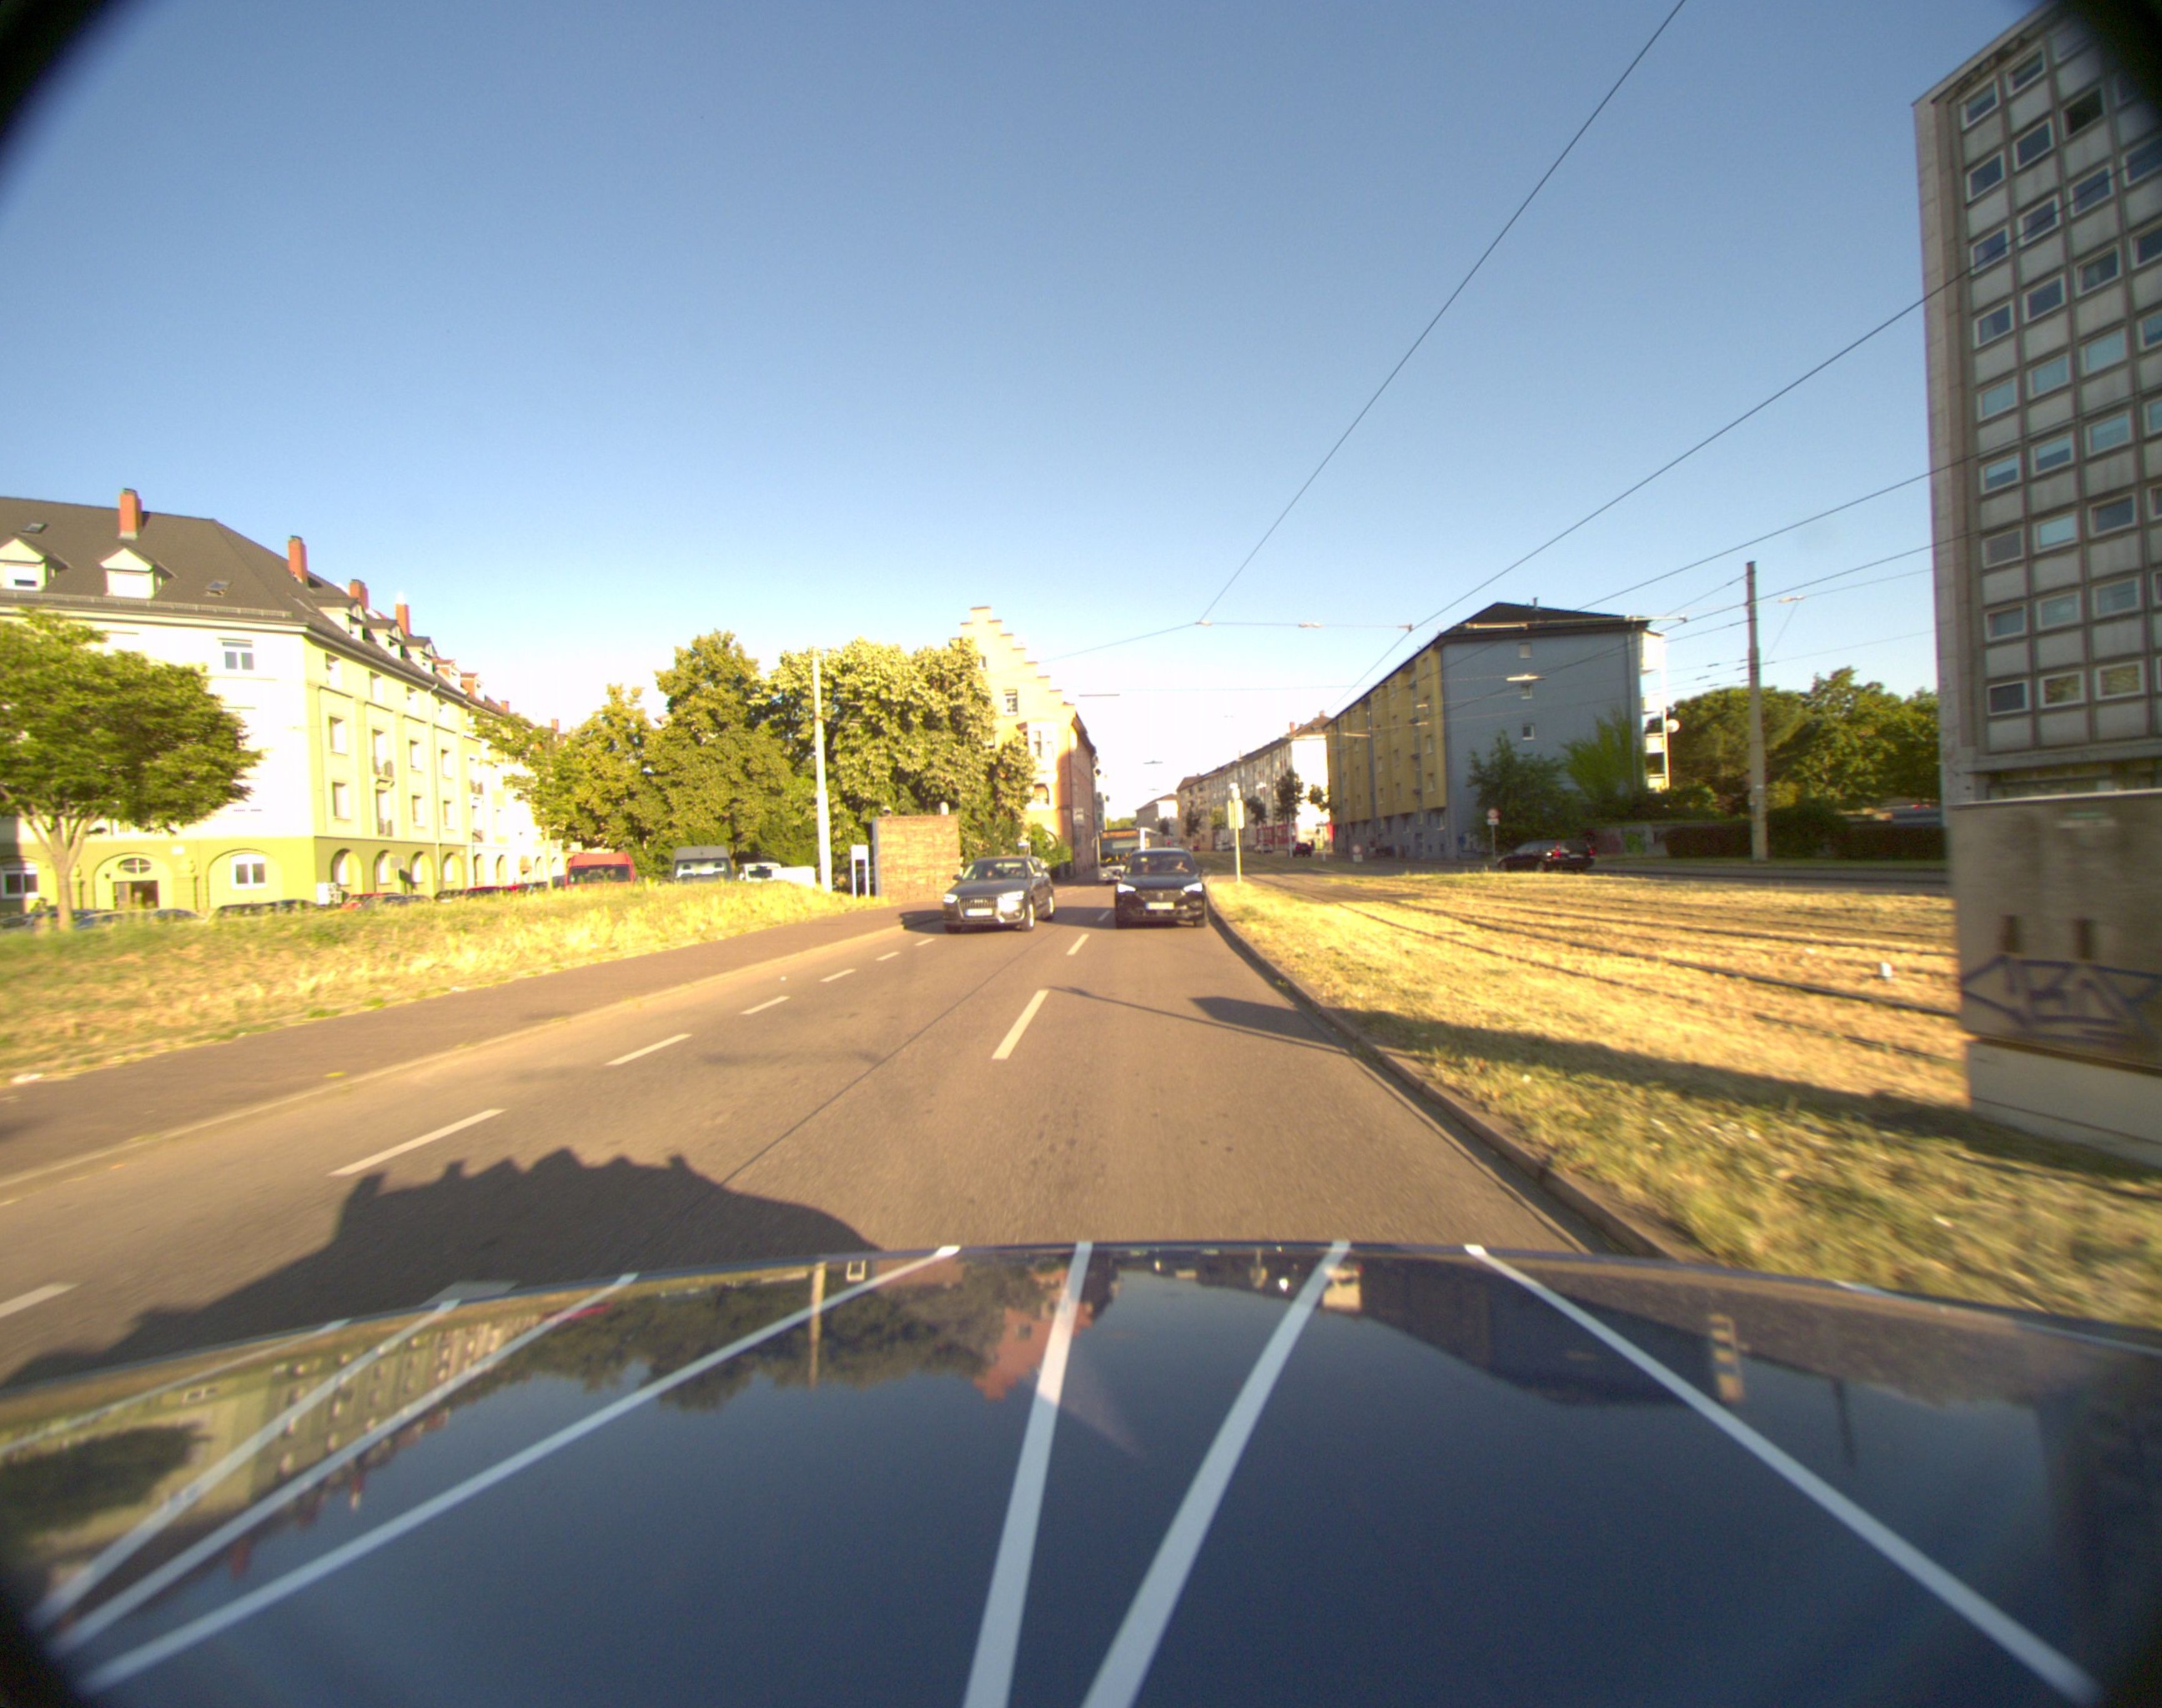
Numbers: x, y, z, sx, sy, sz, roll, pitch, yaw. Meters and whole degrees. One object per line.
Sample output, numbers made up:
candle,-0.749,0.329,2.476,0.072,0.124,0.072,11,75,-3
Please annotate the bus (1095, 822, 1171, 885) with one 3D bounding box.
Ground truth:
bus,3.249,-0.153,43.895,2.729,3.060,10.607,-3,1,12

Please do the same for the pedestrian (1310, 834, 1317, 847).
pedestrian,30.524,-1.801,99.587,0.615,1.679,0.791,-3,1,-1

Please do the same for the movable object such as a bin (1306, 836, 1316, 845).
movable object such as a bin,32.354,-1.868,107.010,1.161,1.279,0.806,-3,1,0

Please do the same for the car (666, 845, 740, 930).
car,-13.636,1.085,27.361,2.046,2.651,6.202,-3,1,-27

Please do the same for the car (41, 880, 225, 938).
car,-25.450,1.418,20.596,1.708,1.251,3.698,-2,1,-27

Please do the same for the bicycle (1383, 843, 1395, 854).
bicycle,27.147,-0.488,66.955,0.428,0.920,1.912,-6,1,6

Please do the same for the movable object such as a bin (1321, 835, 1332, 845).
movable object such as a bin,34.121,-1.973,105.587,1.220,1.408,1.108,-3,1,0

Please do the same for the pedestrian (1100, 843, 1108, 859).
pedestrian,2.602,-0.327,85.080,0.832,1.761,0.996,-2,1,4

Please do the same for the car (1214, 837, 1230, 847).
car,26.784,-2.315,144.137,1.872,1.818,4.419,-2,1,-3

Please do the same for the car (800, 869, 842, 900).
car,-13.761,1.572,40.156,1.633,1.450,3.438,-3,1,-26

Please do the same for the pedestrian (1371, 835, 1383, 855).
pedestrian,26.398,-0.825,67.682,0.618,1.685,0.706,-7,1,4

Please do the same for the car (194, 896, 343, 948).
car,-22.926,1.874,21.616,1.708,1.083,3.699,-2,1,-27

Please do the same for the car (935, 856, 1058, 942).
car,-1.721,0.893,16.832,1.770,1.578,4.070,-2,0,6

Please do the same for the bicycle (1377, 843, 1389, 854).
bicycle,27.118,-0.497,68.236,0.428,0.920,1.912,-6,1,6

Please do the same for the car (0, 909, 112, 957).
car,-39.537,2.980,28.461,3.648,1.521,1.529,-3,1,-25

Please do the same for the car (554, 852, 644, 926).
car,-16.260,1.092,25.917,2.046,2.201,5.403,-2,1,-27

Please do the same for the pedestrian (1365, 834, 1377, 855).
pedestrian,25.765,-0.824,67.495,0.594,1.763,0.886,-7,0,4

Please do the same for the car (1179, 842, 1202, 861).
car,10.267,-0.246,71.425,1.997,1.761,4.002,-1,0,7

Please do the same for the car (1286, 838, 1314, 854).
car,23.752,-0.857,82.607,1.922,1.652,4.710,-2,0,3

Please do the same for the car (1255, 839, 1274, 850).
car,24.800,-1.280,102.674,1.701,1.451,4.315,-1,1,2

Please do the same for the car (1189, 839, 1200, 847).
car,23.775,-2.305,158.921,1.797,1.461,4.795,-1,2,1

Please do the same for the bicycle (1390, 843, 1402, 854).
bicycle,26.973,-0.468,65.026,0.428,0.954,1.912,-2,1,6

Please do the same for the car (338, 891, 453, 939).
car,-20.898,1.807,23.336,1.708,1.154,3.699,-2,1,-27

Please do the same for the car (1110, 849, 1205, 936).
car,1.753,0.735,16.712,1.787,1.615,4.218,-1,0,8

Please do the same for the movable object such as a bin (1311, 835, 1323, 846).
movable object such as a bin,32.823,-1.910,105.632,1.220,1.408,1.138,-3,1,0

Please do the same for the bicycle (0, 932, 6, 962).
bicycle,-34.972,3.022,23.871,0.491,0.964,1.825,-3,1,-25

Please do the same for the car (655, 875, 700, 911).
car,-19.764,1.857,37.140,1.753,1.458,4.215,-3,1,-29

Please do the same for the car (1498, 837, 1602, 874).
car,20.351,0.029,33.210,1.781,1.473,4.399,-1,1,-1

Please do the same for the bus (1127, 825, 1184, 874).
bus,5.525,-0.424,54.312,2.710,3.060,10.607,-3,1,12

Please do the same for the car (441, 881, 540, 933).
car,-18.854,1.624,24.425,1.782,1.365,3.881,-2,1,-27

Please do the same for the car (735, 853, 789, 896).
car,-16.429,1.024,39.014,1.929,1.967,4.738,-3,1,-29
